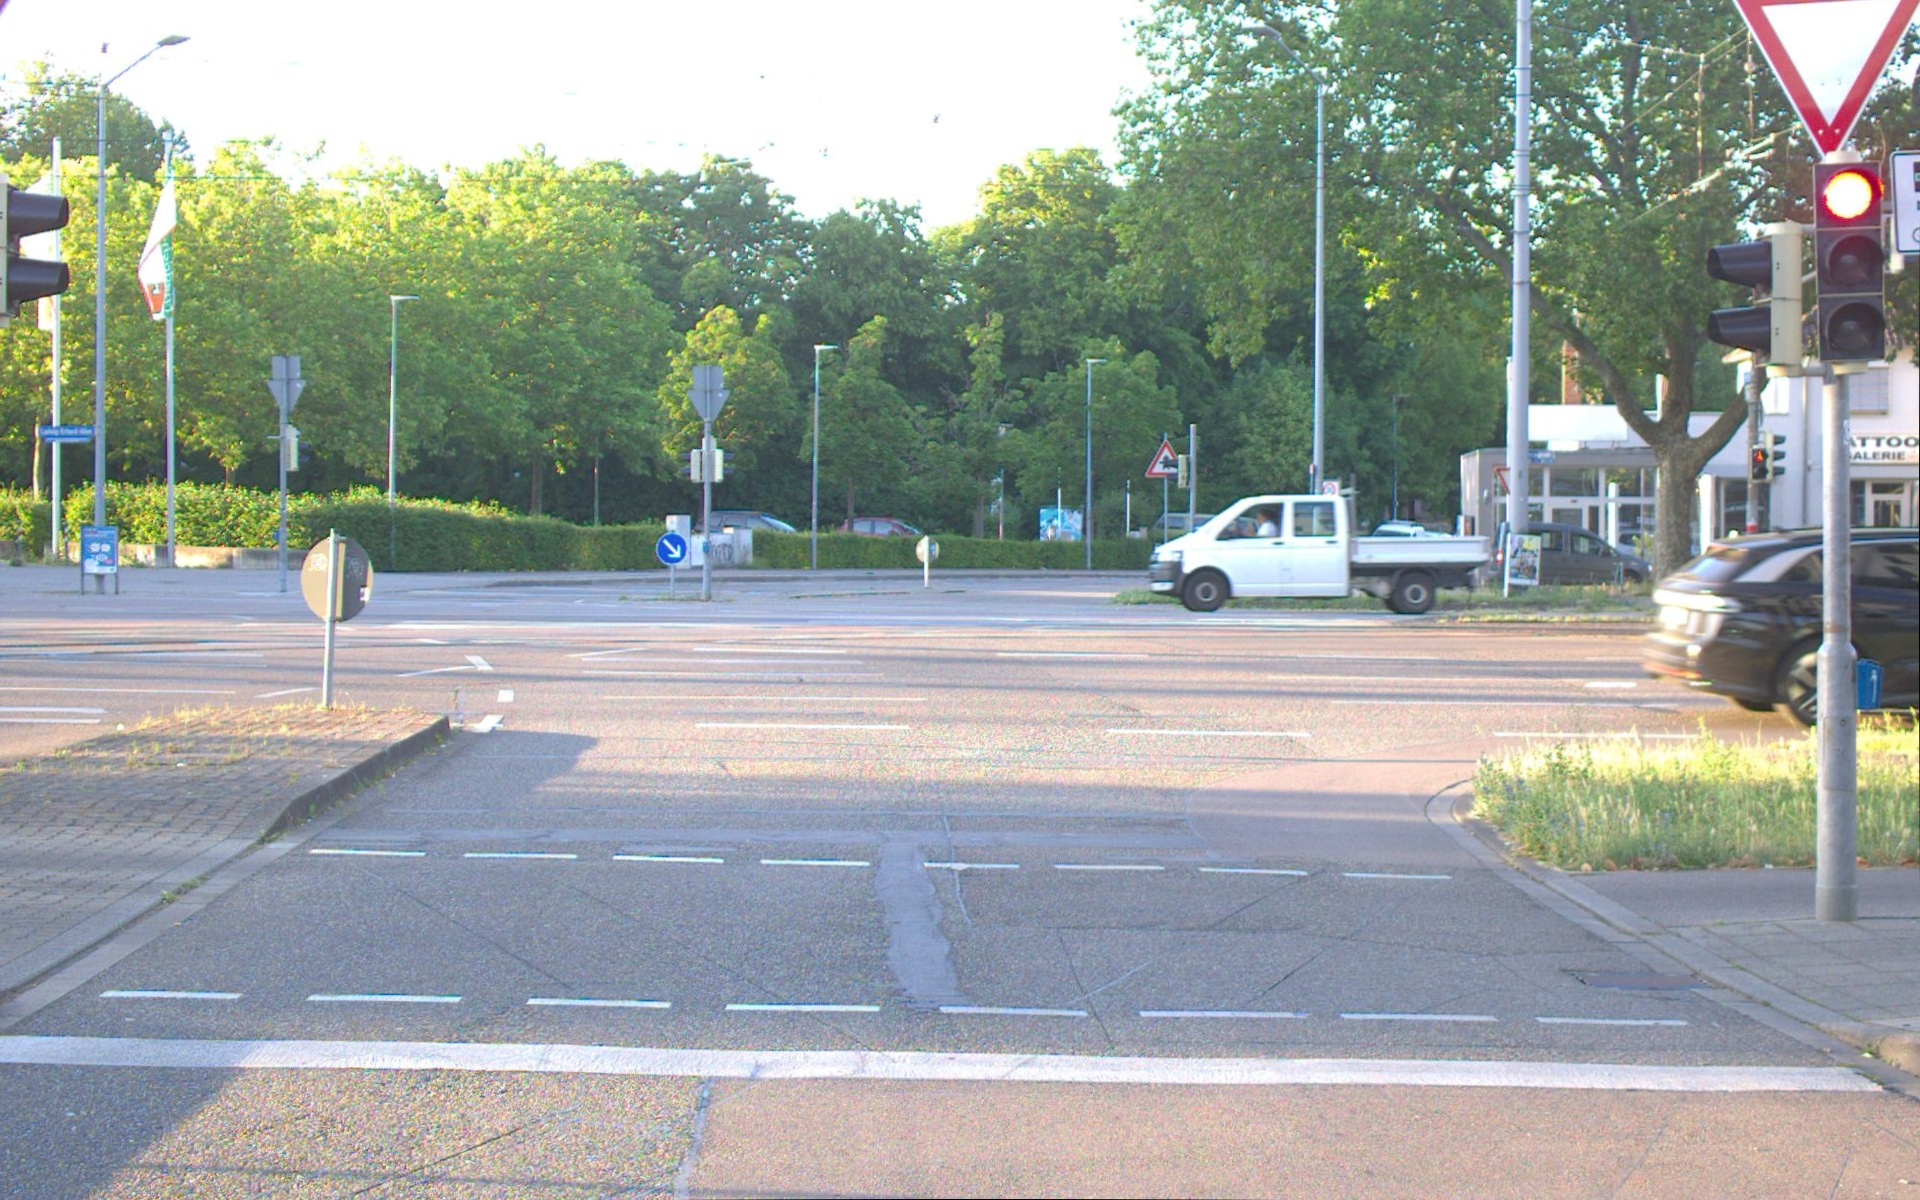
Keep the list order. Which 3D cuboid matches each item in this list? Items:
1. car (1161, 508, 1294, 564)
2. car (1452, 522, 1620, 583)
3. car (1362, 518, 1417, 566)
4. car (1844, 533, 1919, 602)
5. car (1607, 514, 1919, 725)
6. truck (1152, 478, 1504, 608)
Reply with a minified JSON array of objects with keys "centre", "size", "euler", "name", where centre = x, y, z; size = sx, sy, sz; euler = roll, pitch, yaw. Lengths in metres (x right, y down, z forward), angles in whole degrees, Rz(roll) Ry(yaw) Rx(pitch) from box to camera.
[{"centre":[9.773,-2.332,125.869],"size":[4.774,1.999,2.000],"euler":[0,0,2],"name":"car"},{"centre":[14.903,-1.224,89.162],"size":[4.220,1.547,1.999],"euler":[1,0,7],"name":"car"},{"centre":[16.418,-2.203,131.183],"size":[1.864,1.788,3.998],"euler":[1,0,10],"name":"car"},{"centre":[20.587,-0.666,72.267],"size":[3.741,1.435,1.663],"euler":[1,0,9],"name":"car"},{"centre":[7.856,0.141,27.493],"size":[4.907,1.609,2.000],"euler":[0,1,-4],"name":"car"},{"centre":[6.013,-0.944,56.660],"size":[5.556,2.047,2.068],"euler":[1,1,0],"name":"truck"}]
